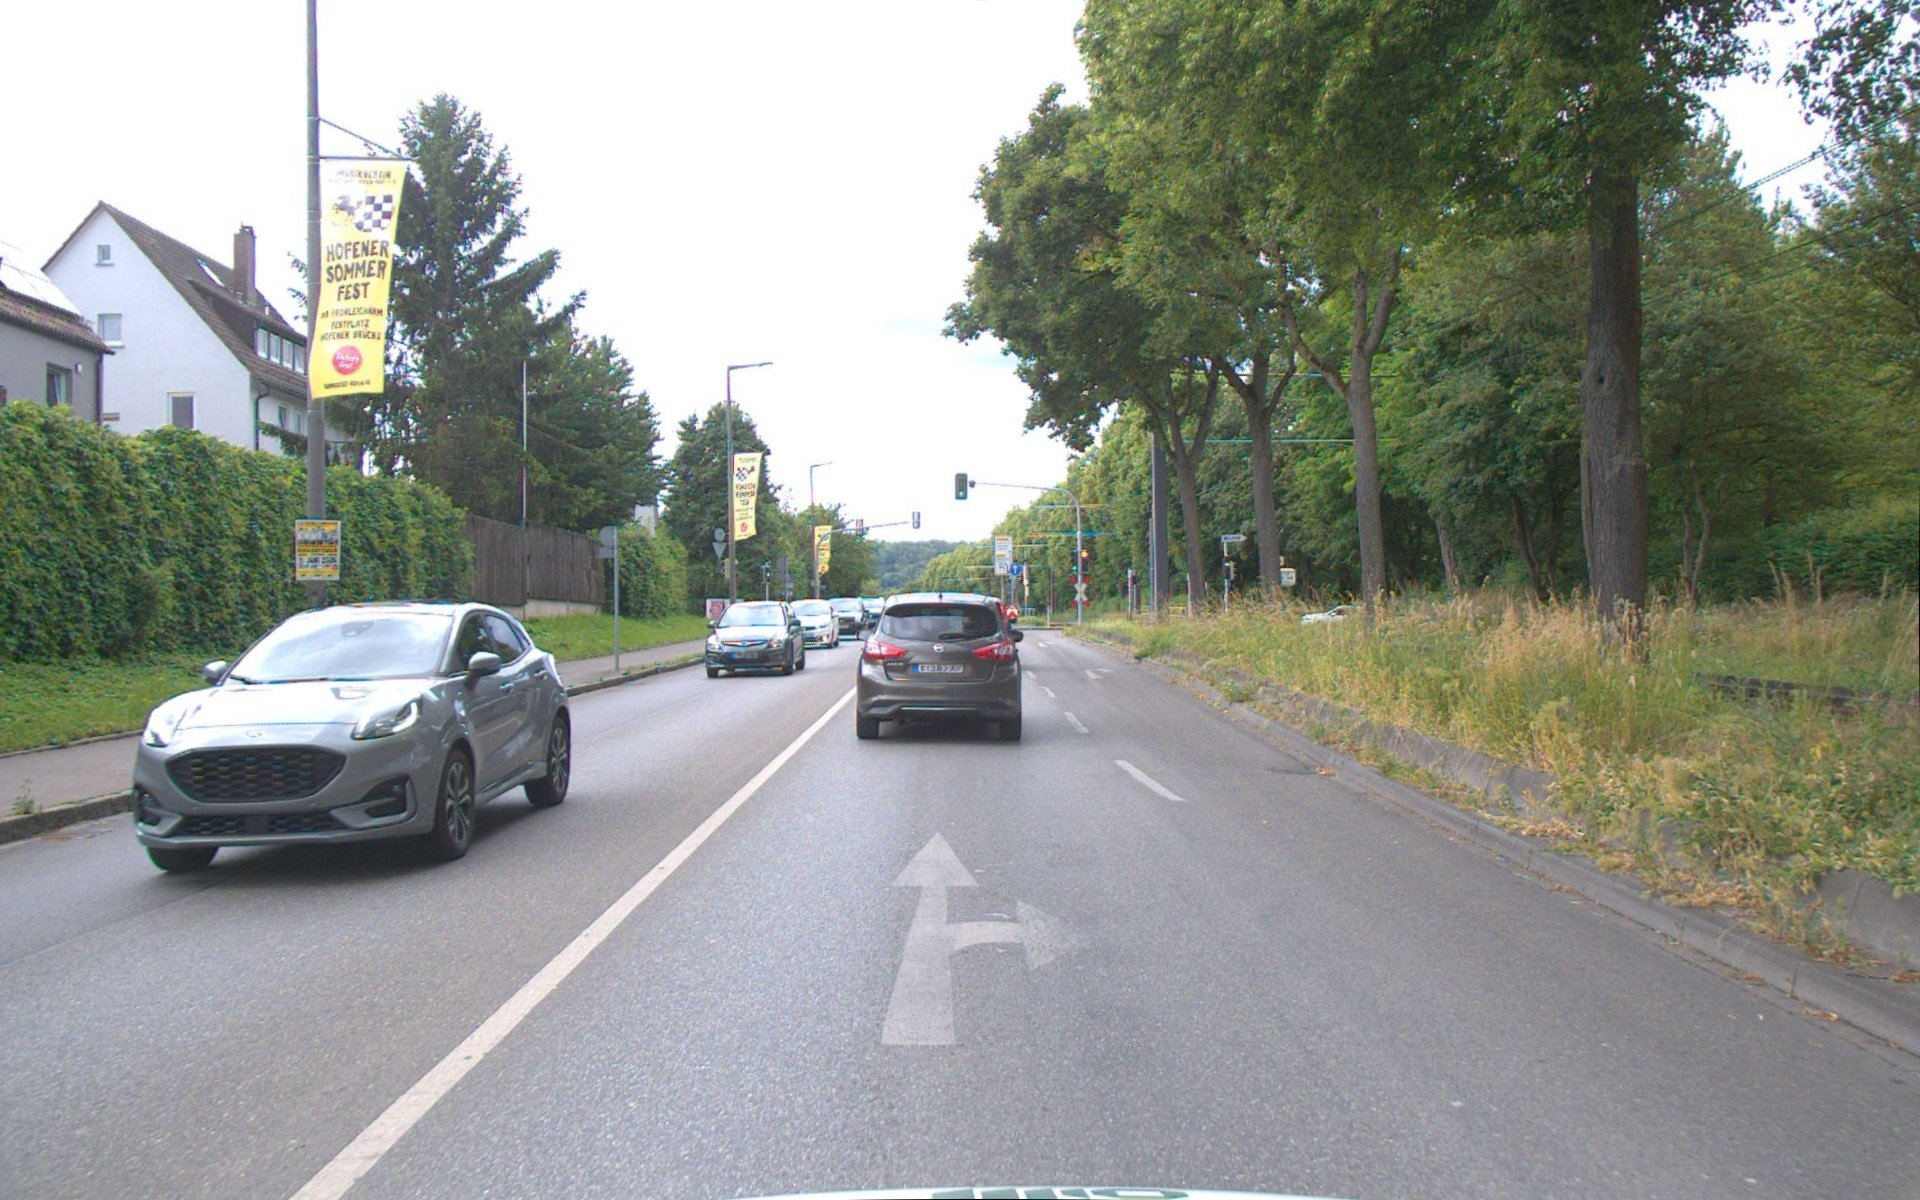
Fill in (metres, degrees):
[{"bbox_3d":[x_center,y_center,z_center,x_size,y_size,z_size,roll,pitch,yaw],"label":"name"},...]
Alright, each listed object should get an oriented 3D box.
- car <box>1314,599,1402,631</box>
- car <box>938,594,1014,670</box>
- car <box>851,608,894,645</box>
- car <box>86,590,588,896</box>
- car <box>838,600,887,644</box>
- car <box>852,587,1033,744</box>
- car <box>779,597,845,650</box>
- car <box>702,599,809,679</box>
[{"bbox_3d":[20.284,0.772,84.369,3.910,1.377,1.998,3,0,-6],"label":"car"},{"bbox_3d":[0.315,0.626,34.657,1.507,1.504,3.764,0,0,0],"label":"car"},{"bbox_3d":[-3.986,1.189,75.712,1.776,1.550,4.176,-2,0,-2],"label":"car"},{"bbox_3d":[-3.792,0.764,10.875,1.716,1.545,4.000,-3,0,0],"label":"car"},{"bbox_3d":[-3.616,0.802,61.979,1.610,1.507,4.106,-3,0,-1],"label":"car"},{"bbox_3d":[-0.169,0.652,18.851,1.797,1.545,4.482,1,0,0],"label":"car"},{"bbox_3d":[-4.609,0.692,51.876,1.585,1.486,4.072,-4,0,1],"label":"car"},{"bbox_3d":[-4.213,0.765,34.593,1.693,1.490,4.153,-2,0,-1],"label":"car"}]
